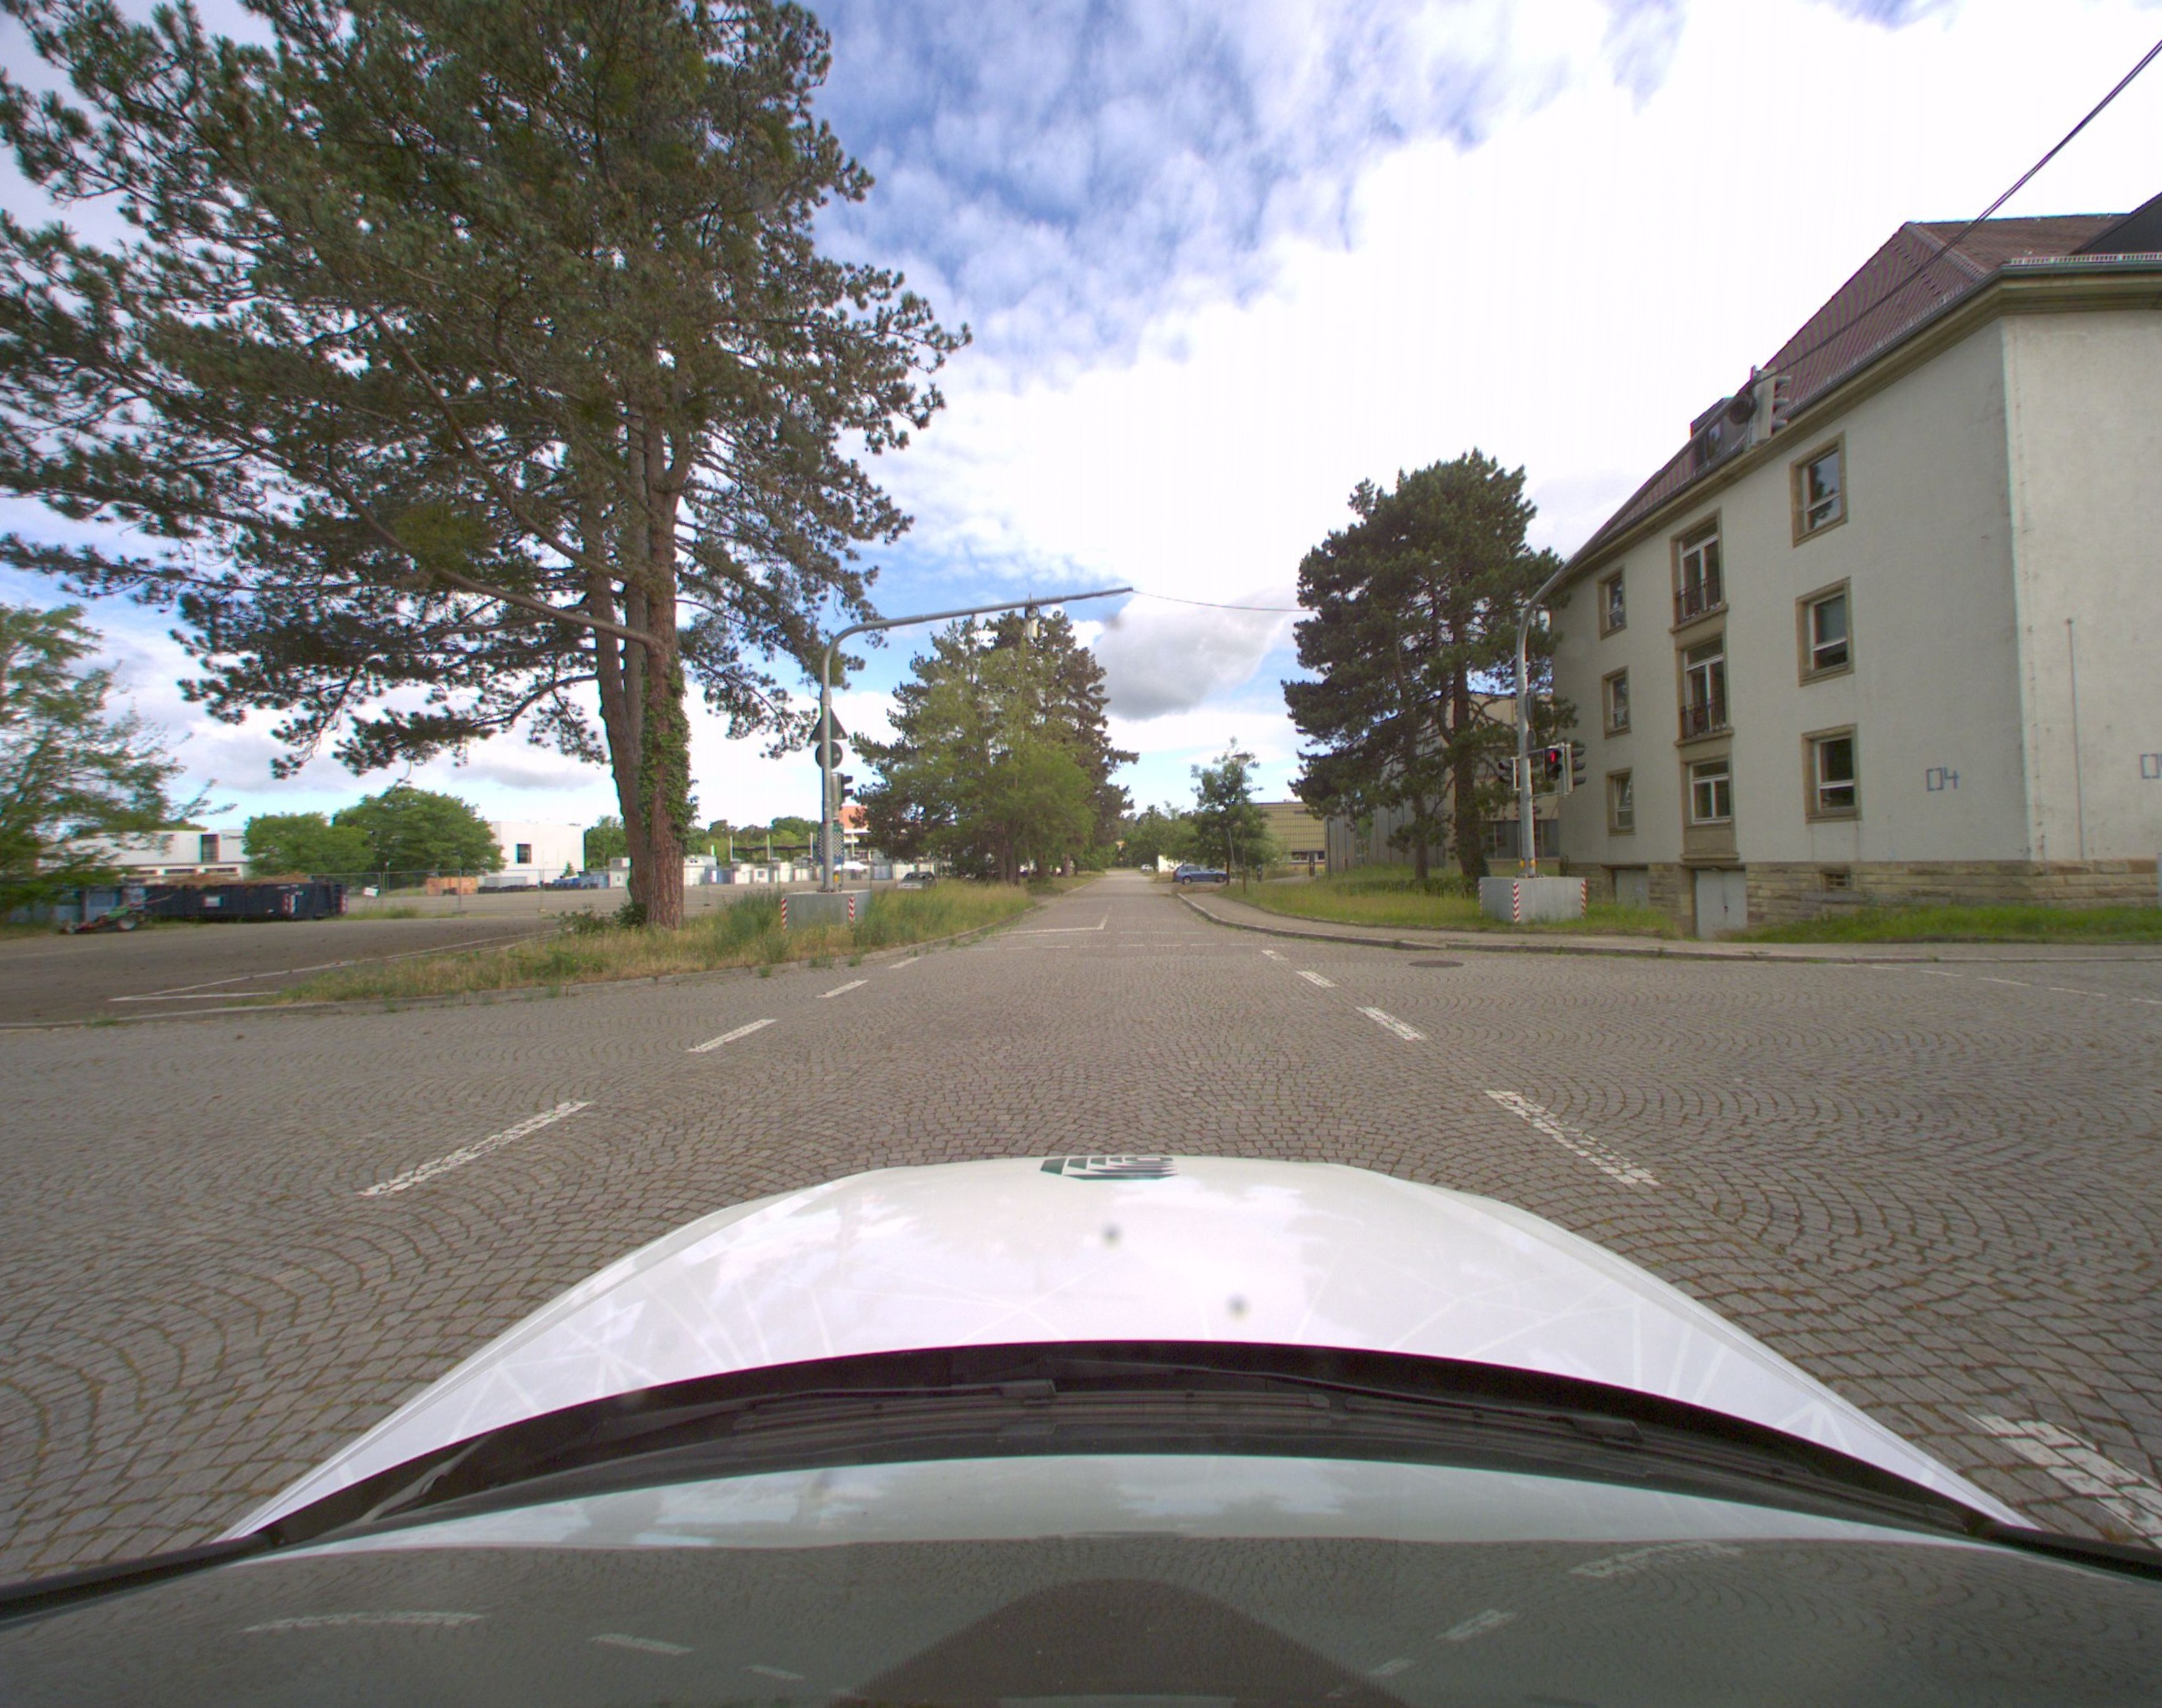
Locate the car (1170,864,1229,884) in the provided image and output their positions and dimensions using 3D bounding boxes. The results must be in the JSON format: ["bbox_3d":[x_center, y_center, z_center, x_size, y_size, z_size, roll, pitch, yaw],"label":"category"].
[{"bbox_3d":[9.274,1.550,63.782,4.329,1.422,2.000,-2,-1,1],"label":"car"}]

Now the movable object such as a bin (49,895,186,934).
[{"bbox_3d":[-30.290,1.881,25.690,1.174,1.048,2.656,-2,-1,-2],"label":"movable object such as a bin"}]

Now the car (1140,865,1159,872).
[{"bbox_3d":[15.168,3.202,180.788,3.977,1.398,1.998,-2,-1,-3],"label":"car"}]

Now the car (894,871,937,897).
[{"bbox_3d":[-10.057,1.813,49.773,1.606,1.487,4.003,-1,-1,3],"label":"car"}]
